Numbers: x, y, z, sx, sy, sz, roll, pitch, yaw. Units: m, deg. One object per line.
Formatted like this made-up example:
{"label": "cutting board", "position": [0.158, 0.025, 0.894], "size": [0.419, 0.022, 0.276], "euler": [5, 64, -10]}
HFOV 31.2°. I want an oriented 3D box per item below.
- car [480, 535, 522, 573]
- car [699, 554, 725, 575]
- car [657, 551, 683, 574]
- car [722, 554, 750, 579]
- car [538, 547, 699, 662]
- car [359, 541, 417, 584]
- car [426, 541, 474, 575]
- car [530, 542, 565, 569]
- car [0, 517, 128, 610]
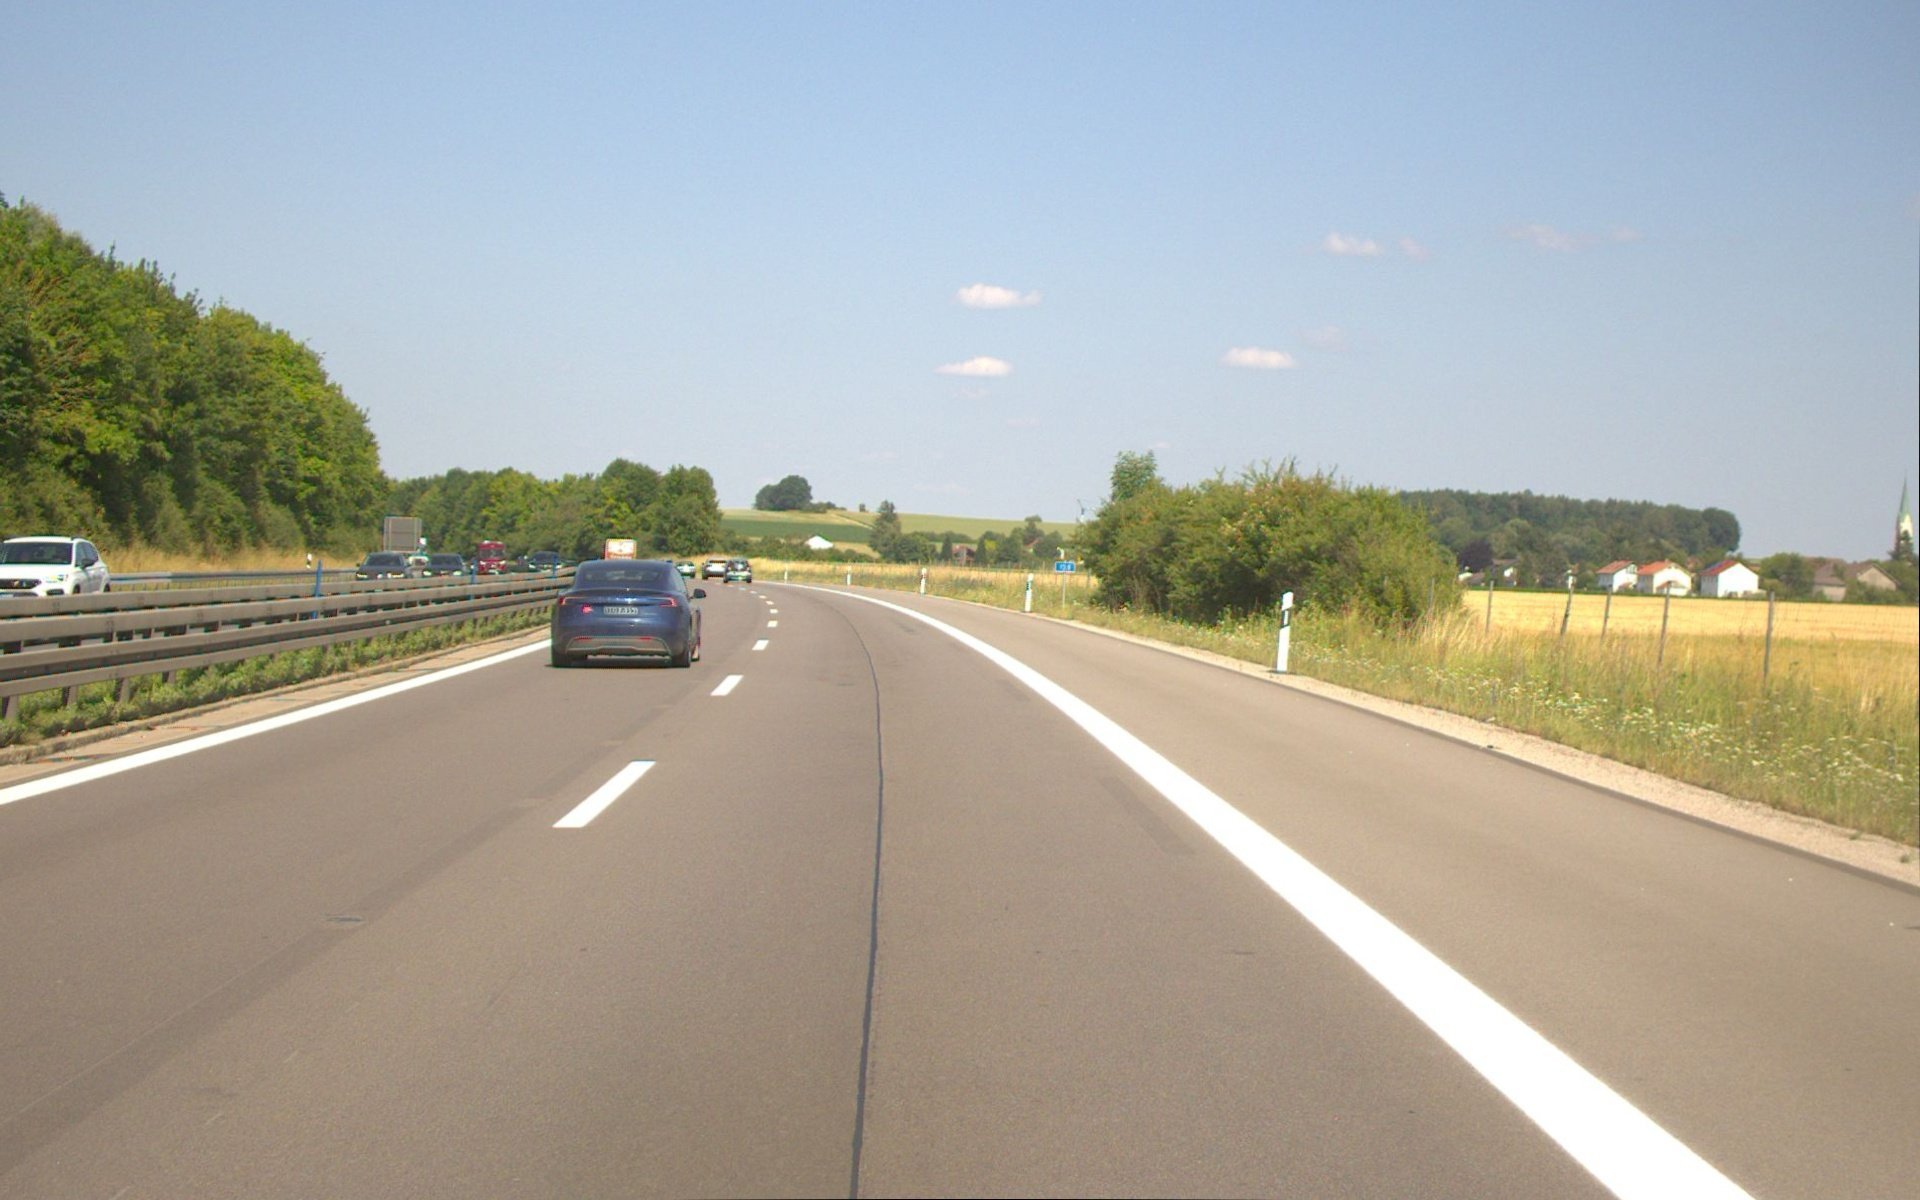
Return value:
{"label": "car", "position": [-33.080, -3.343, 248.086], "size": [2.543, 2.586, 6.594], "euler": [2, 1, -4]}
{"label": "car", "position": [-17.643, -2.512, 244.205], "size": [1.675, 1.448, 3.593], "euler": [1, 1, -6]}
{"label": "car", "position": [-19.327, -2.487, 228.855], "size": [1.676, 1.448, 3.592], "euler": [1, 1, -5]}
{"label": "car", "position": [-13.628, -2.044, 209.052], "size": [1.676, 1.448, 3.592], "euler": [1, 1, -4]}
{"label": "car", "position": [-4.656, 0.017, 47.595], "size": [1.847, 1.428, 5.866], "euler": [1, 1, -2]}
{"label": "car", "position": [-20.165, -1.351, 121.359], "size": [1.578, 1.457, 4.153], "euler": [1, 1, -4]}
{"label": "car", "position": [-21.959, -1.813, 148.202], "size": [1.662, 1.417, 4.001], "euler": [1, 1, -3]}
{"label": "car", "position": [-22.685, -2.466, 189.111], "size": [1.662, 1.417, 4.001], "euler": [1, 1, -3]}
{"label": "car", "position": [-16.332, -0.680, 61.746], "size": [1.751, 1.559, 4.580], "euler": [2, 1, -2]}
